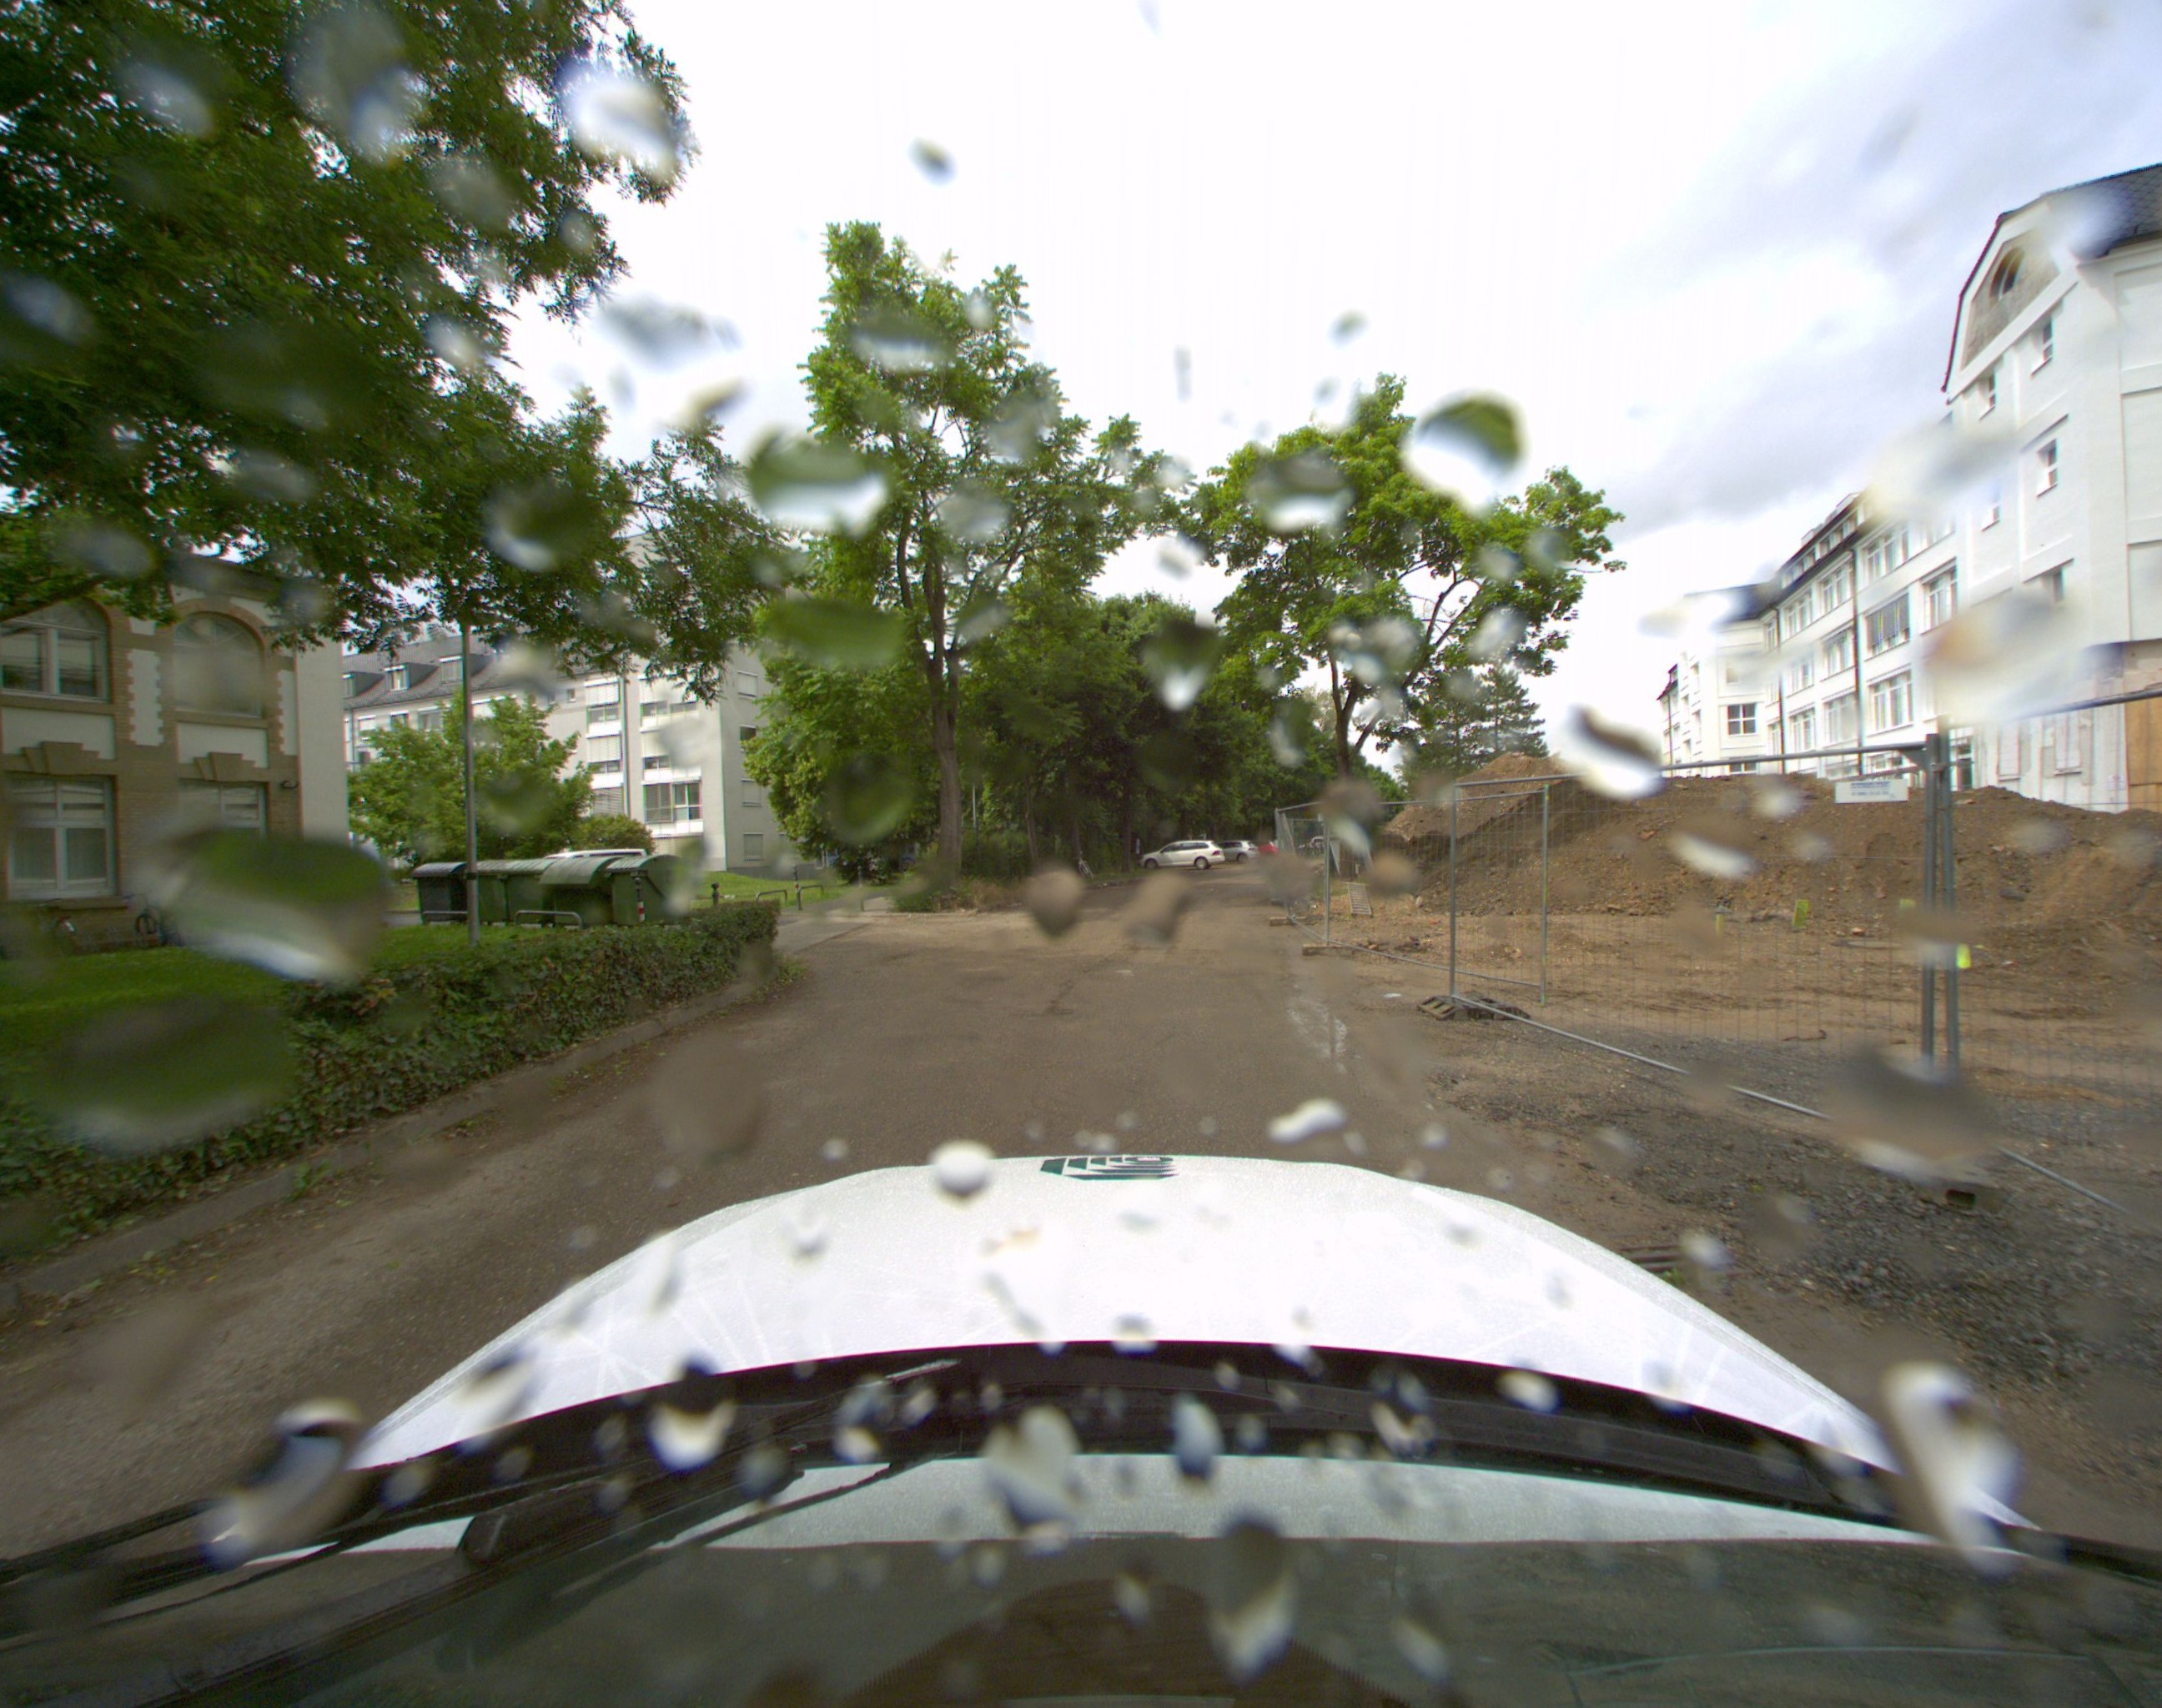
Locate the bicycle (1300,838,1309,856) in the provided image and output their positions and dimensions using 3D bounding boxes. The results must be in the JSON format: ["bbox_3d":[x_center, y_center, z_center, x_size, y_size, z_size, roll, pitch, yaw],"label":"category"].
[{"bbox_3d":[16.218,-0.483,59.105,0.591,1.308,2.680,-1,-1,15],"label":"bicycle"}]

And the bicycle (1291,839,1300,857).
[{"bbox_3d":[15.617,-0.455,59.240,0.591,1.267,2.680,-1,-1,15],"label":"bicycle"}]

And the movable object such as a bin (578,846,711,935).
[{"bbox_3d":[-7.686,0.610,14.370,1.541,1.471,1.422,-1,-1,26],"label":"movable object such as a bin"}]

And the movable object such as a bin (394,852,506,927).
[{"bbox_3d":[-13.121,0.712,16.955,1.348,1.471,1.372,-1,-1,26],"label":"movable object such as a bin"}]

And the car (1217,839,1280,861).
[{"bbox_3d":[11.467,-0.250,55.665,4.003,1.409,1.990,-1,-1,16],"label":"car"}]

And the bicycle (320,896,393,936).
[{"bbox_3d":[-15.639,1.311,17.563,2.031,0.799,0.456,-1,-1,27],"label":"bicycle"}]

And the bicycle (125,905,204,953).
[{"bbox_3d":[-16.873,1.354,14.981,2.031,0.799,0.456,-1,-1,27],"label":"bicycle"}]

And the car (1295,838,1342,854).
[{"bbox_3d":[22.502,-0.739,77.180,3.997,1.409,1.993,-1,-1,26],"label":"car"}]

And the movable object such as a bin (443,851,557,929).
[{"bbox_3d":[-11.595,0.684,16.278,1.348,1.471,1.372,-1,-1,26],"label":"movable object such as a bin"}]

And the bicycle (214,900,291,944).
[{"bbox_3d":[-16.341,1.321,16.049,2.031,0.799,0.456,-1,-1,27],"label":"bicycle"}]

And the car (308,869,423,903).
[{"bbox_3d":[-36.956,1.612,42.205,1.768,1.354,4.025,-2,2,26],"label":"car"}]

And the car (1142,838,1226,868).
[{"bbox_3d":[5.351,-0.037,42.034,4.003,1.409,1.990,-1,-1,16],"label":"car"}]

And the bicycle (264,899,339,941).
[{"bbox_3d":[-16.089,1.343,16.799,2.031,0.799,0.456,-1,-1,27],"label":"bicycle"}]

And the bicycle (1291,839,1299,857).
[{"bbox_3d":[16.670,-0.452,63.325,0.591,1.308,2.680,-1,-1,15],"label":"bicycle"}]

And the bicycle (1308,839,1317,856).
[{"bbox_3d":[17.877,-0.472,62.989,0.591,1.308,2.680,-1,-1,15],"label":"bicycle"}]

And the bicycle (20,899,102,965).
[{"bbox_3d":[-17.475,1.309,13.943,2.031,1.038,0.456,-1,-1,27],"label":"bicycle"}]

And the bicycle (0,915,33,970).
[{"bbox_3d":[-17.786,1.426,13.282,2.031,0.799,0.456,-1,-1,27],"label":"bicycle"}]

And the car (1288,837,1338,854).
[{"bbox_3d":[20.766,-0.706,72.822,3.997,1.409,1.993,-1,-1,26],"label":"car"}]

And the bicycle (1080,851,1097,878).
[{"bbox_3d":[0.264,0.340,28.444,0.464,0.879,1.572,-1,1,4],"label":"bicycle"}]

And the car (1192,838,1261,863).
[{"bbox_3d":[9.034,-0.192,50.467,4.003,1.409,1.990,-1,-1,16],"label":"car"}]

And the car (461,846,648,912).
[{"bbox_3d":[-17.890,0.790,27.951,1.974,2.013,4.984,-2,0,30],"label":"car"}]

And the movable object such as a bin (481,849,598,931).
[{"bbox_3d":[-10.387,0.664,15.647,1.335,1.471,1.372,-1,-1,26],"label":"movable object such as a bin"}]

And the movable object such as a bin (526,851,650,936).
[{"bbox_3d":[-9.076,0.689,15.020,1.447,1.471,1.372,-1,-1,26],"label":"movable object such as a bin"}]
